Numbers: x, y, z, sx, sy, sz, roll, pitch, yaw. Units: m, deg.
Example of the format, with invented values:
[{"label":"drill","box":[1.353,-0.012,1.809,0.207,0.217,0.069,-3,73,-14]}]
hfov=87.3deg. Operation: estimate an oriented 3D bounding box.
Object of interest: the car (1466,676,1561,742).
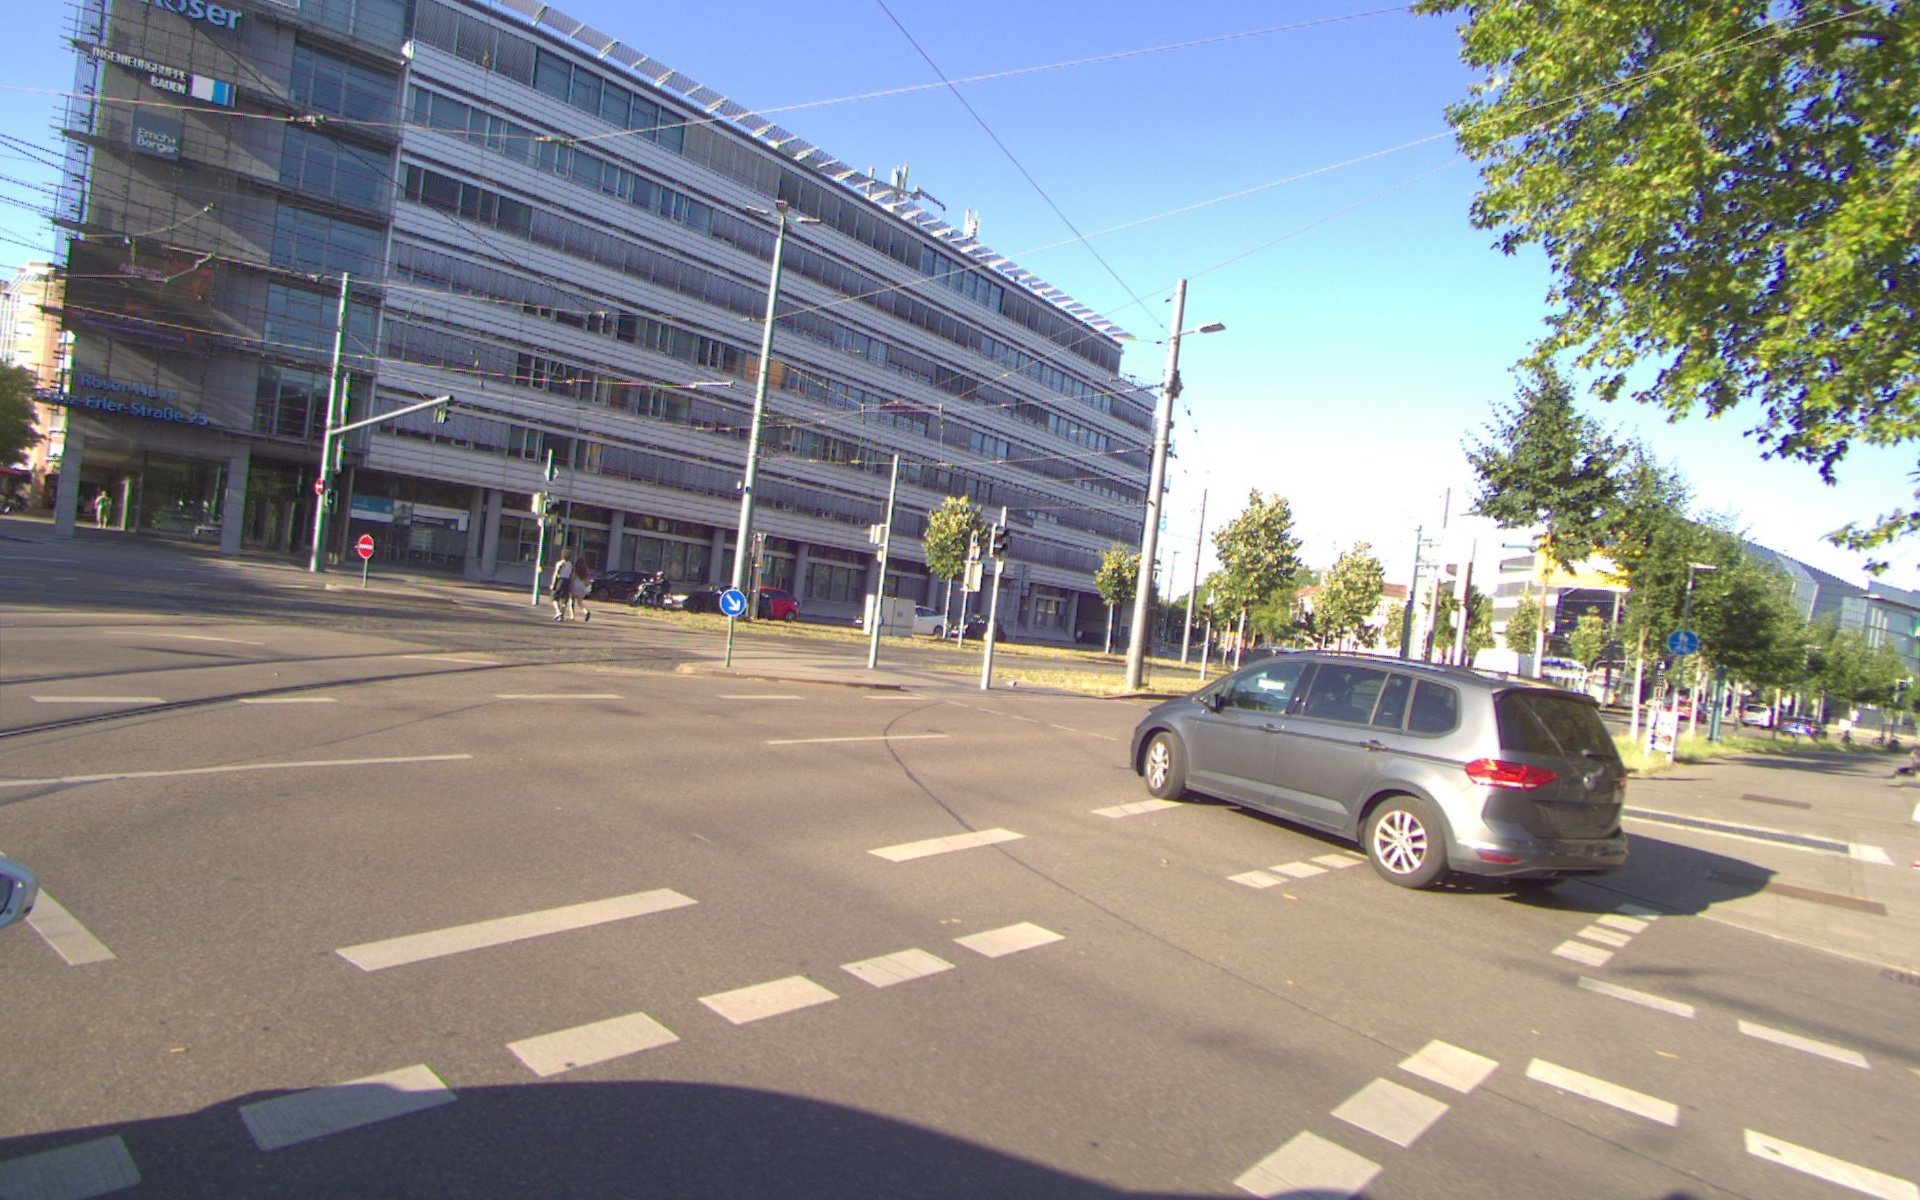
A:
[{"label":"car","box":[17.097,3.339,30.998,1.837,1.652,4.249,7,-1,37]}]

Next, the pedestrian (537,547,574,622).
[{"label":"pedestrian","box":[-10.540,-0.406,26.201,0.690,1.865,0.961,6,1,-25]}]

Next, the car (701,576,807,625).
[{"label":"car","box":[-9.239,0.046,45.278,4.145,1.640,1.882,8,-1,-42]}]

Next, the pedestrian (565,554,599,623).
[{"label":"pedestrian","box":[-9.971,-0.311,26.519,0.640,1.709,0.841,6,1,-25]}]

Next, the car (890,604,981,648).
[{"label":"car","box":[-1.195,1.285,49.674,4.145,1.640,1.882,8,-1,-42]}]

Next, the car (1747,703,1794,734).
[{"label":"car","box":[63.327,9.273,78.566,3.848,2.038,1.598,7,0,-33]}]

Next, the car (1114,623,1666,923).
[{"label":"car","box":[3.337,1.263,8.724,1.601,1.622,4.143,7,0,-29]}]

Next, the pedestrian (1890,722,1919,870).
[{"label":"pedestrian","box":[10.599,2.145,10.829,0.477,1.557,0.570,6,1,-16]}]

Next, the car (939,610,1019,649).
[{"label":"car","box":[1.082,1.632,55.616,4.145,1.640,1.882,8,-1,-42]}]

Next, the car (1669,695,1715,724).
[{"label":"car","box":[50.881,7.609,69.905,3.971,1.660,1.653,7,0,-41]}]

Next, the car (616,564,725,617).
[{"label":"car","box":[-12.131,-0.386,42.318,3.841,1.640,1.882,8,-1,-42]}]

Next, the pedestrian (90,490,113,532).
[{"label":"pedestrian","box":[-43.029,-4.464,50.430,0.507,2.039,0.673,7,1,39]}]

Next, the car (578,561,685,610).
[{"label":"car","box":[-15.085,-0.661,46.313,4.145,1.640,1.882,8,-1,-42]}]

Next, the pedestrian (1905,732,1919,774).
[{"label":"pedestrian","box":[26.541,4.227,27.531,0.764,1.094,0.680,7,1,31]}]

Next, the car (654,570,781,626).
[{"label":"car","box":[-9.708,-0.054,40.437,4.495,1.640,1.882,9,-1,-42]}]

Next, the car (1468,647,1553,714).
[{"label":"car","box":[25.119,3.715,45.788,1.972,2.509,5.949,7,-1,41]}]

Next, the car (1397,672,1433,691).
[{"label":"car","box":[58.128,10.411,128.630,3.928,1.883,1.999,7,0,24]}]

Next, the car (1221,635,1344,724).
[{"label":"car","box":[7.557,1.846,23.327,1.833,1.652,4.258,7,-1,28]}]

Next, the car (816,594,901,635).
[{"label":"car","box":[-5.020,0.728,50.151,3.976,1.615,1.608,7,-1,-44]}]

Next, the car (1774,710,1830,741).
[{"label":"car","box":[55.379,8.242,66.142,3.963,1.613,1.776,7,0,-35]}]
